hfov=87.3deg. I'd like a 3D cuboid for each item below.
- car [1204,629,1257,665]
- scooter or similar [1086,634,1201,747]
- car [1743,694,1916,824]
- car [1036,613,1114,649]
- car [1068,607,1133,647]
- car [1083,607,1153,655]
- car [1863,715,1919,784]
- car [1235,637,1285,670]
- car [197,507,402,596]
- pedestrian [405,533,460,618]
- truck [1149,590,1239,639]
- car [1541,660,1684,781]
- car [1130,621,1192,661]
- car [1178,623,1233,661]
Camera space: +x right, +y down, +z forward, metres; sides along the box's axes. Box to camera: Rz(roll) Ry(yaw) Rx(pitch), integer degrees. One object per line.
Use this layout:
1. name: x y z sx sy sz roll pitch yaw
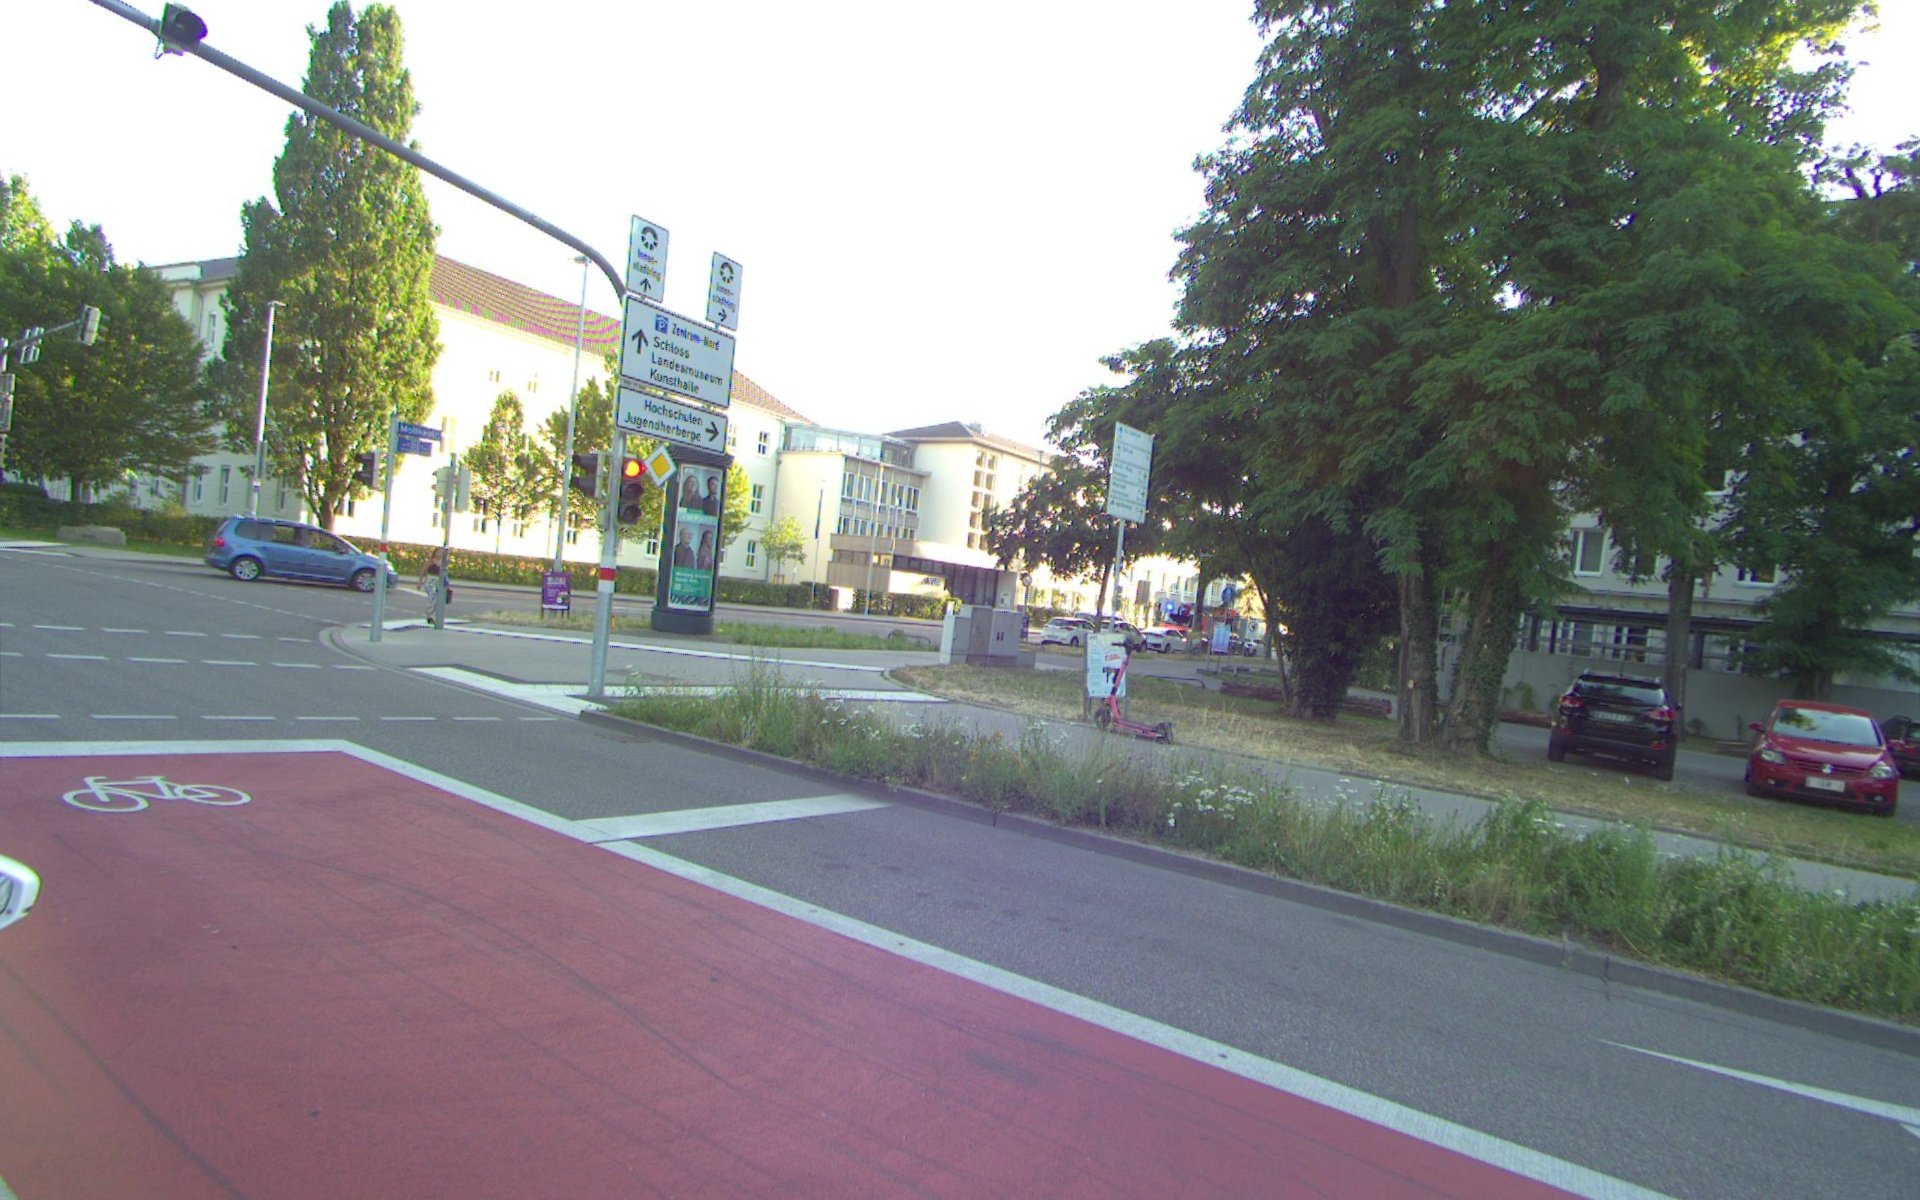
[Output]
1. car: 17.218 3.034 63.855 1.789 1.893 4.136 7 -1 35
2. scooter or similar: 2.327 1.137 12.803 1.289 1.247 0.311 7 1 32
3. car: 13.992 2.454 16.399 1.759 1.581 3.984 7 0 38
4. car: 5.474 1.494 47.704 1.793 1.358 3.985 6 0 37
5. car: 7.759 1.524 55.234 1.720 1.783 3.989 7 -1 35
6. car: 8.062 1.587 51.185 1.713 2.038 3.988 7 -1 36
7. car: 23.177 3.621 24.029 1.873 1.459 3.987 7 -1 37
8. car: 20.368 3.659 68.233 1.873 1.831 3.988 7 -1 36
9. car: -17.529 -1.261 26.807 4.264 1.742 1.833 7 2 -41
10. pedestrian: -10.899 -0.505 20.789 0.680 1.656 0.600 8 1 34
11. truck: 15.856 1.064 67.460 2.327 2.315 10.049 7 -1 34
12. car: 11.763 2.111 18.060 1.808 1.715 3.899 7 -1 36
13. car: 11.070 2.272 55.102 1.720 1.783 3.989 7 -1 35
14. car: 14.603 2.498 59.725 1.698 1.879 3.989 7 -1 35
